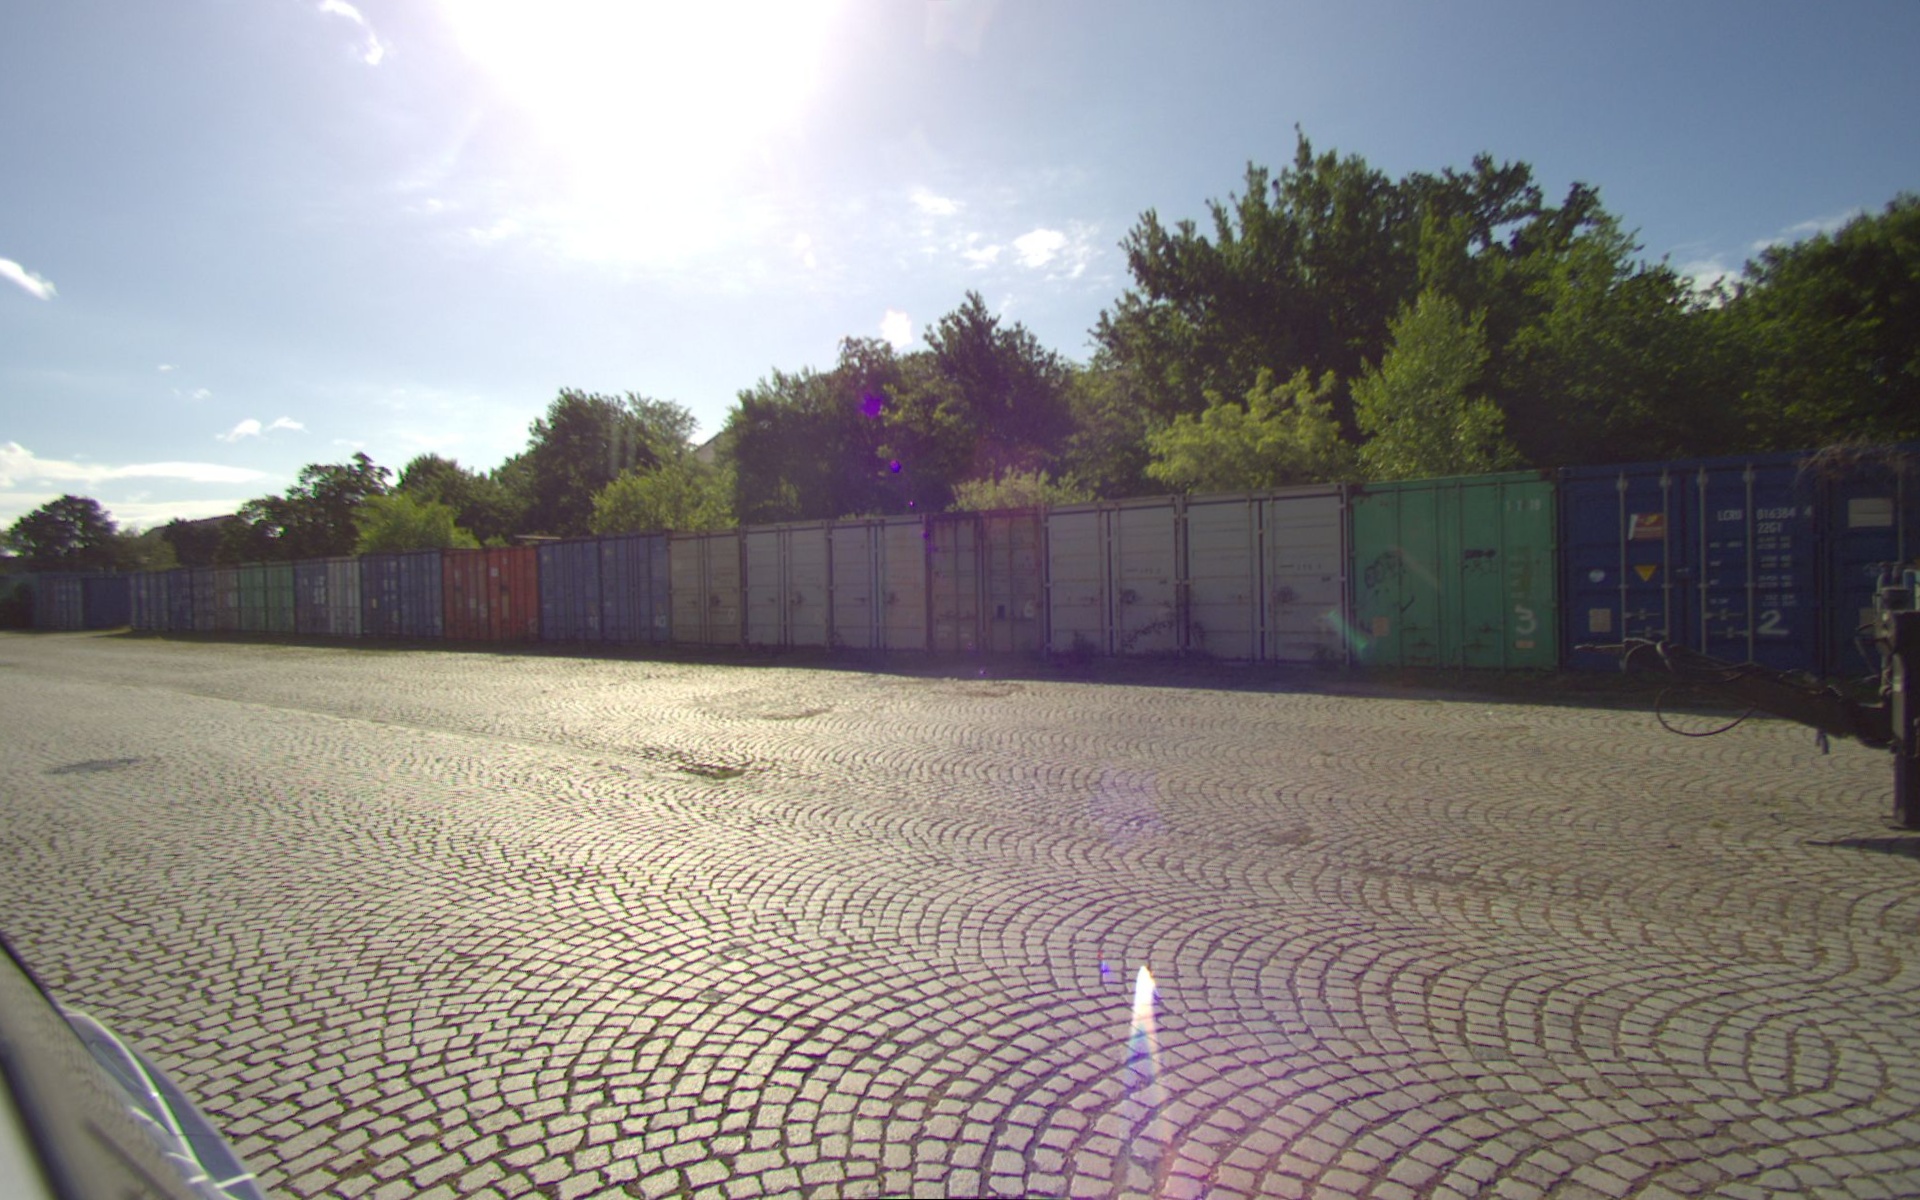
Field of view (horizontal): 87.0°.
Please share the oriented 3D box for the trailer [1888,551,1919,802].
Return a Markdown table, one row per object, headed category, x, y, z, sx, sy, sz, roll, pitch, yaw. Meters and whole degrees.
| category | x | y | z | sx | sy | sz | roll | pitch | yaw |
| --- | --- | --- | --- | --- | --- | --- | --- | --- | --- |
| trailer | 7.350 | 0.433 | 4.236 | 4.854 | 1.425 | 2.616 | 0 | 2 | 37 |
